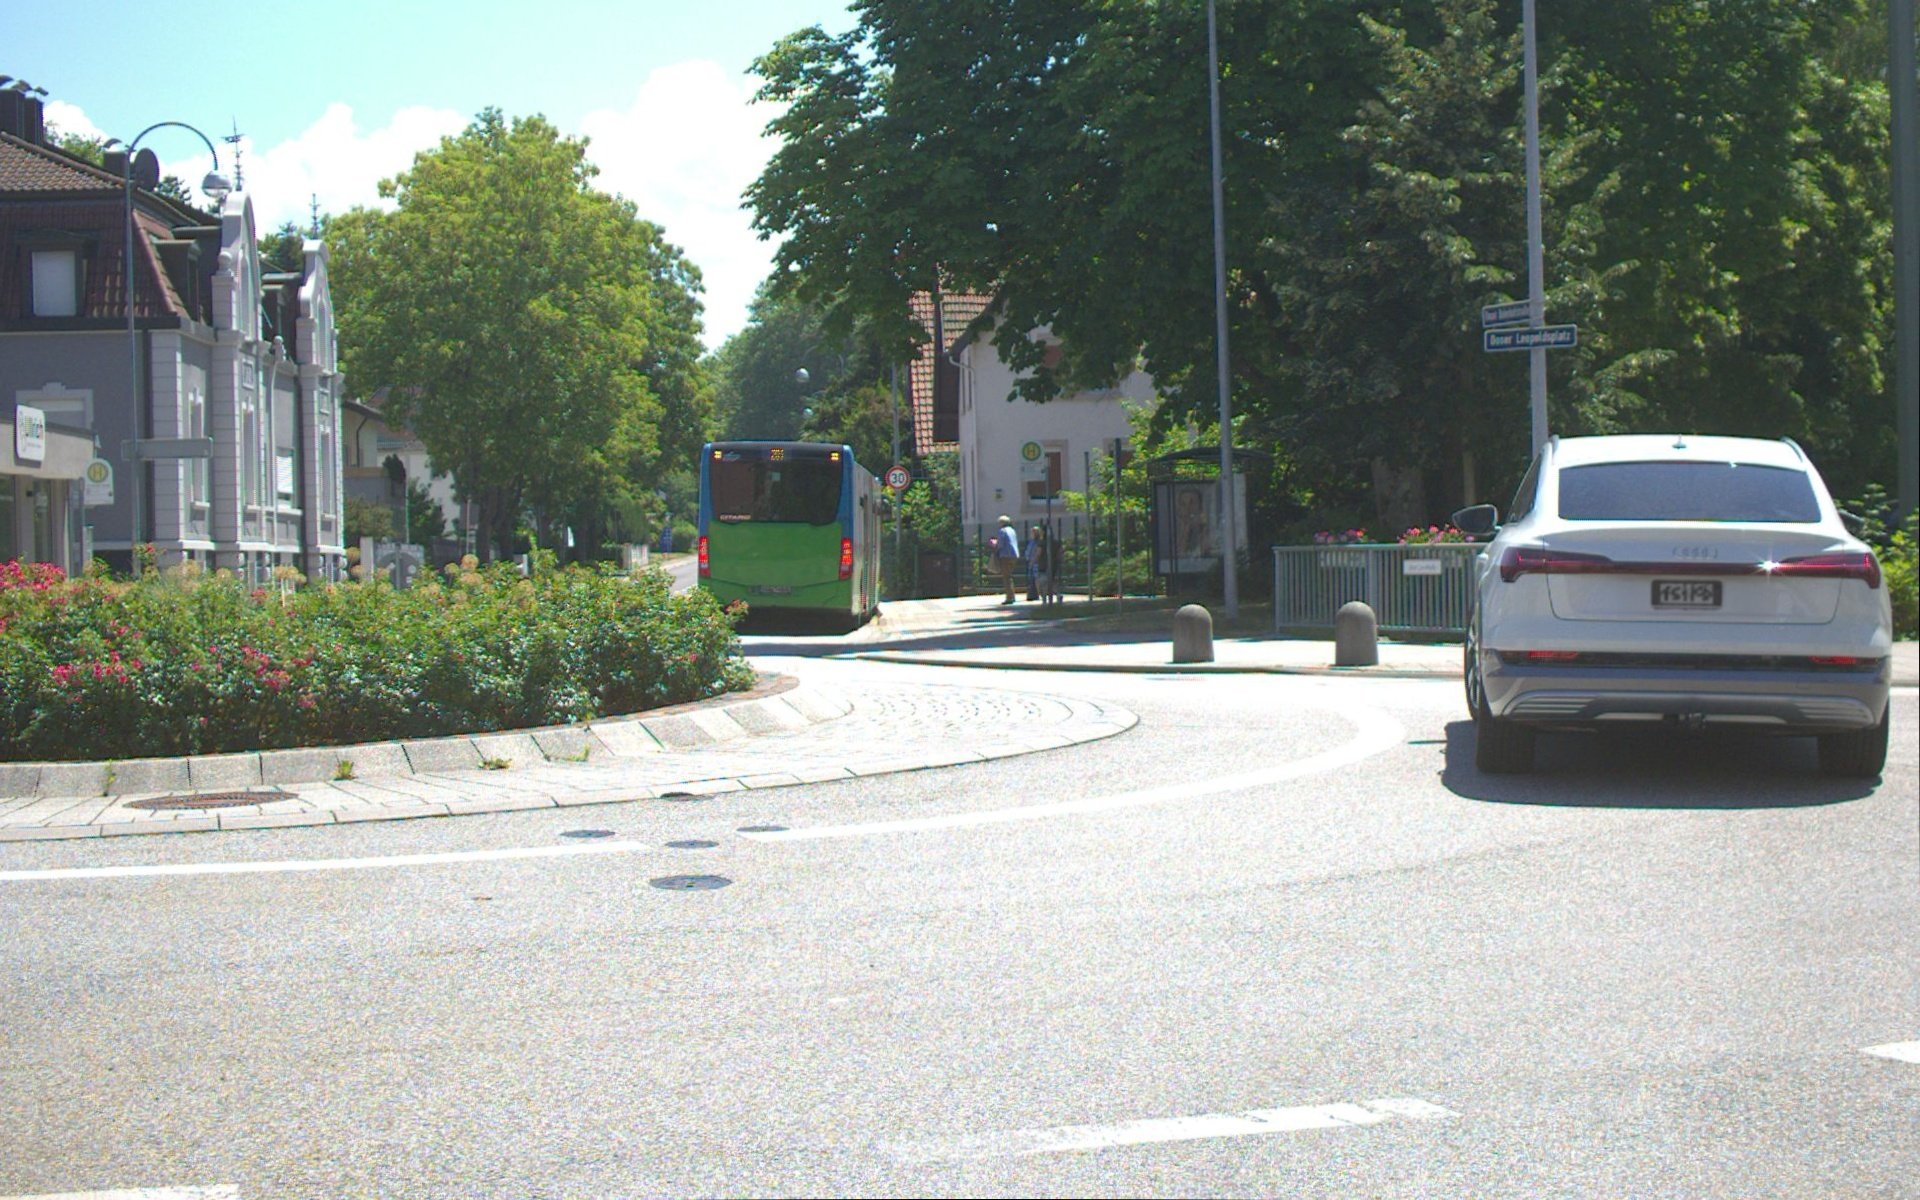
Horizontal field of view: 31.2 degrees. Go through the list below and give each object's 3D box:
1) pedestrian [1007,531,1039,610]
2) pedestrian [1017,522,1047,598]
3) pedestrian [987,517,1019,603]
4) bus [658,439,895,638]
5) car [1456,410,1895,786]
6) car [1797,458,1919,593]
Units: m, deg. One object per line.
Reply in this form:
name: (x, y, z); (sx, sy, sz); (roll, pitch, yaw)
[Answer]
pedestrian: (1.176, -0.552, 63.922); (0.489, 1.449, 0.531); (-1, 1, -8)
pedestrian: (1.458, -0.810, 69.494); (0.488, 1.517, 0.543); (-1, 1, -8)
pedestrian: (0.841, -0.785, 67.081); (0.502, 1.644, 0.580); (-1, 1, -8)
bus: (-3.116, -1.086, 64.105); (3.706, 3.160, 18.070); (0, 1, -1)
car: (3.781, -0.060, 17.586); (1.899, 1.656, 4.406); (-1, 1, 15)
car: (14.971, -1.148, 52.051); (1.995, 2.007, 3.998); (-2, 2, -42)
